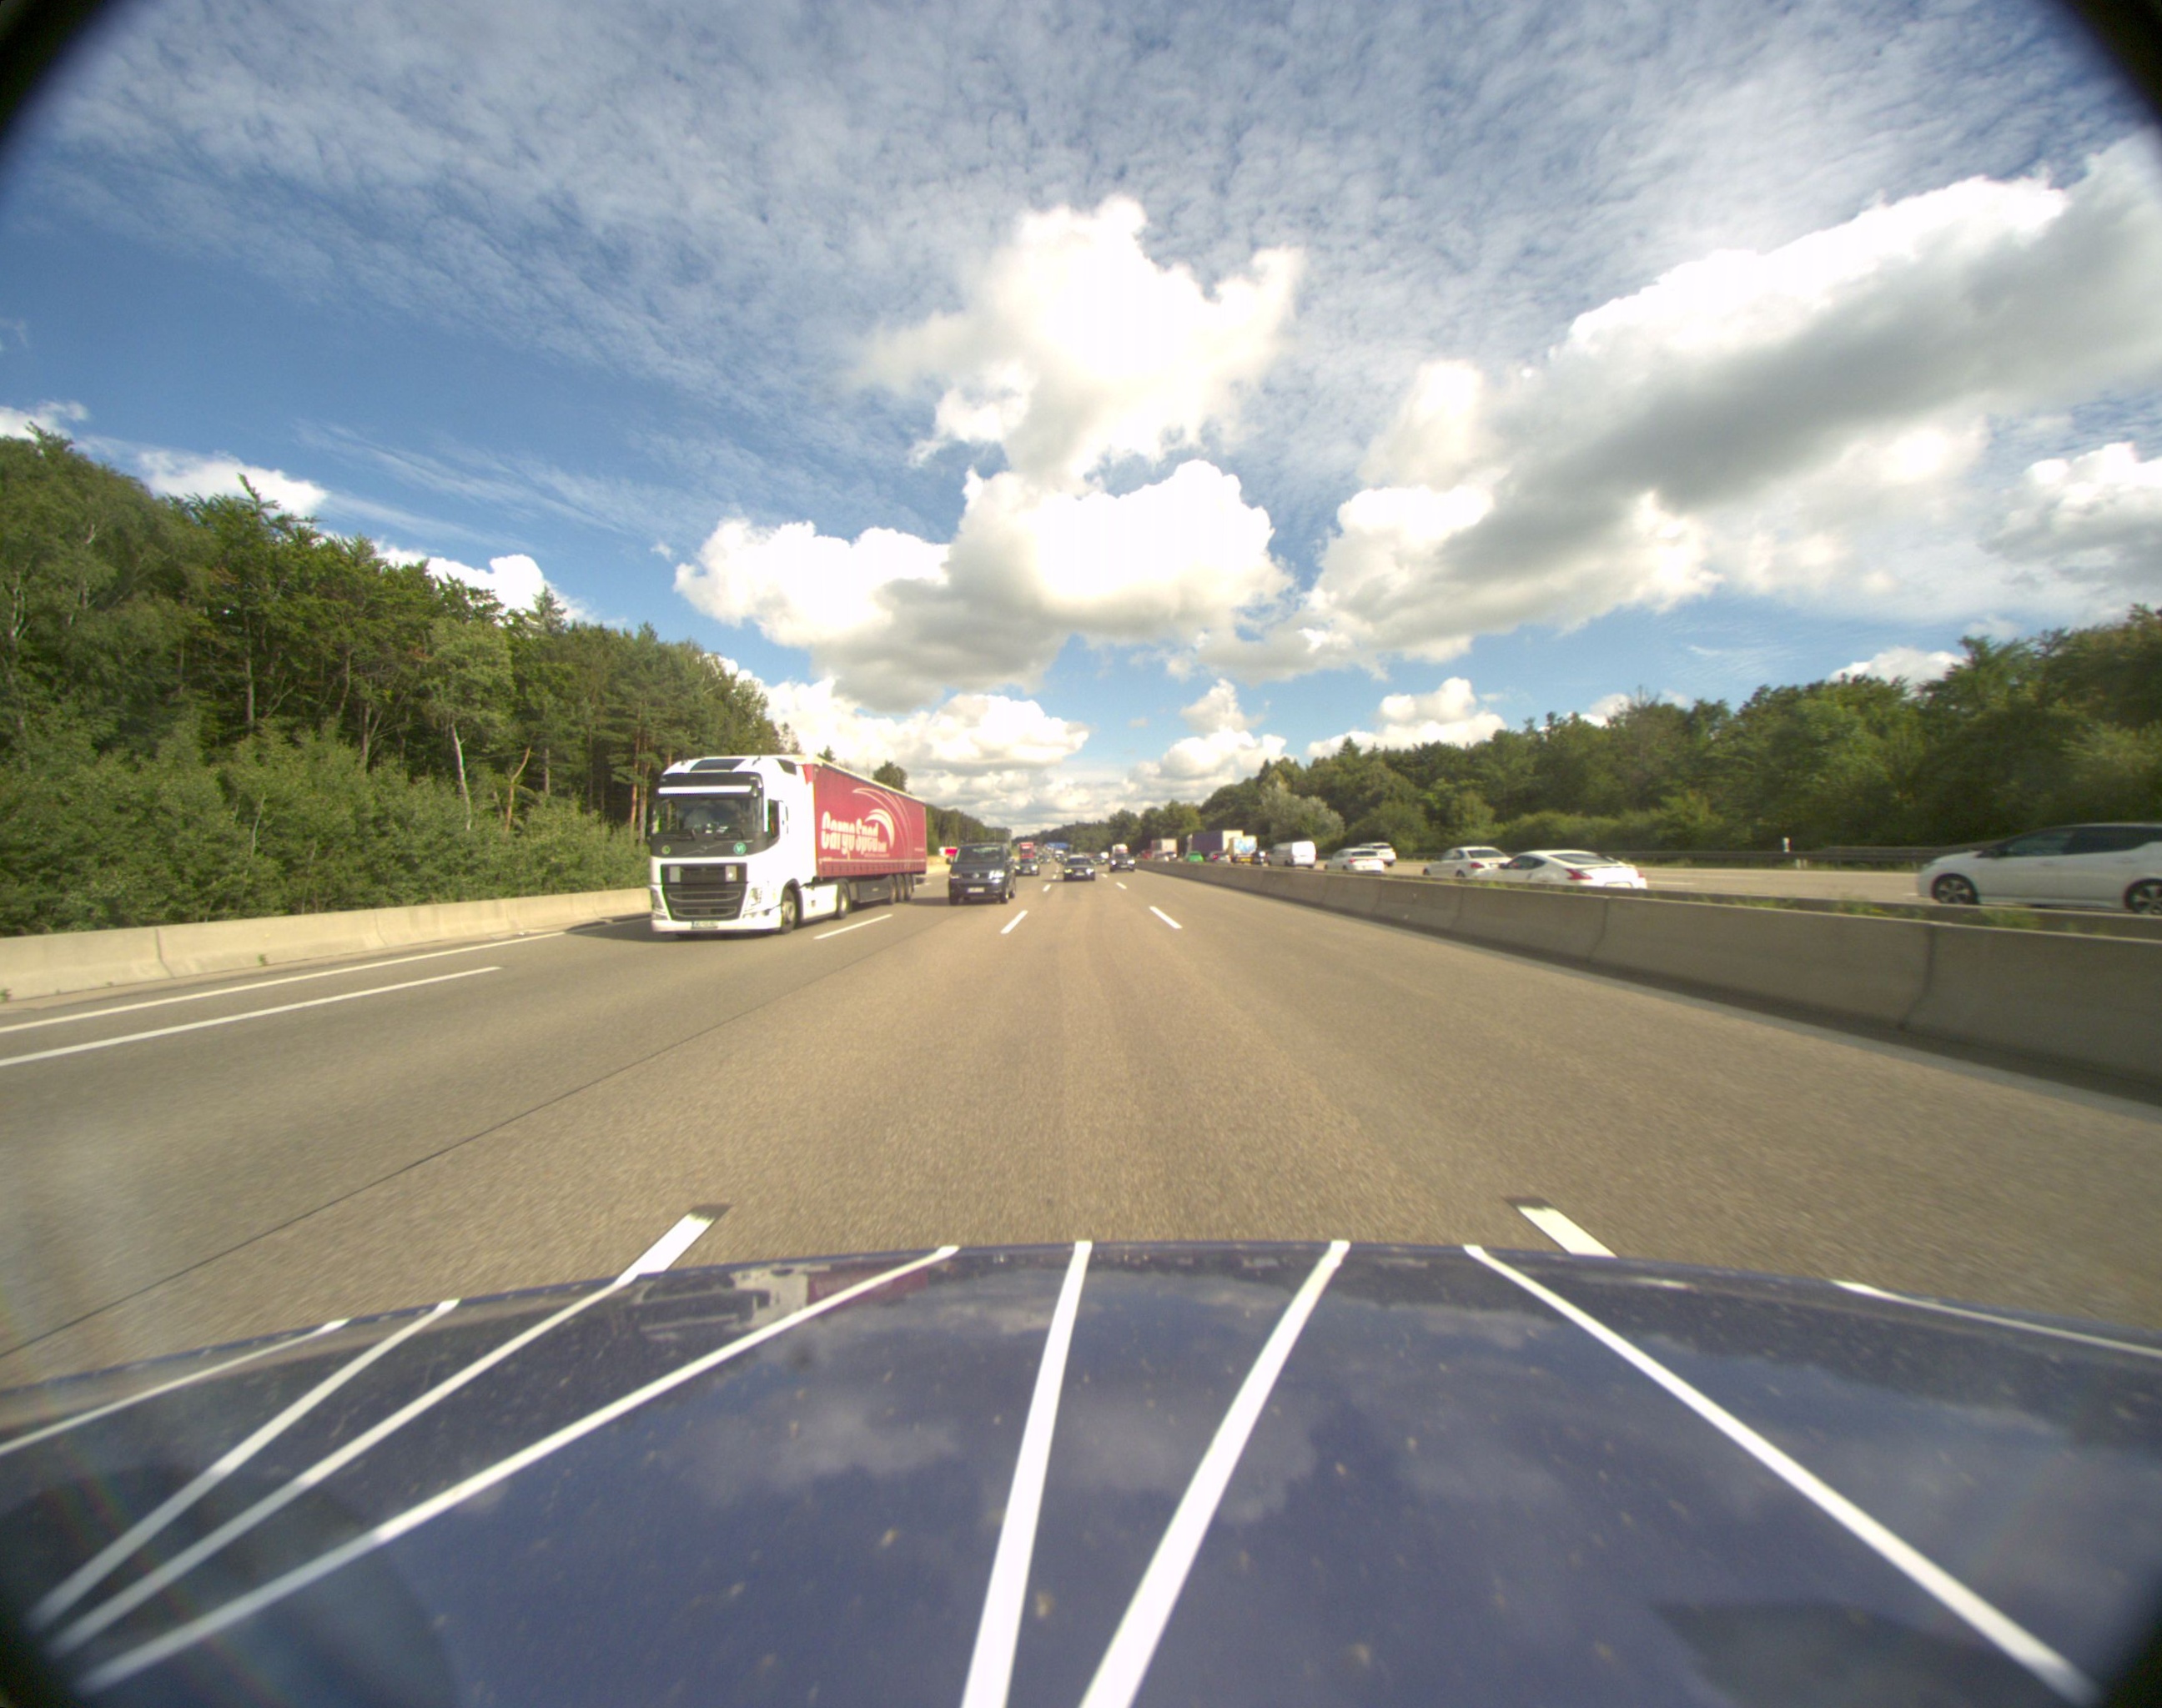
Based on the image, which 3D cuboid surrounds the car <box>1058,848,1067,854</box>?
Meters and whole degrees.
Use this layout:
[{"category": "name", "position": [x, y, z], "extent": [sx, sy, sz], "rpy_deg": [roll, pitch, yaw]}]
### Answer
[{"category": "car", "position": [-4.550, -0.690, 184.906], "extent": [2.153, 1.540, 4.675], "rpy_deg": [-2, 0, -3]}]

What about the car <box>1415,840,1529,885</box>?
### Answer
[{"category": "car", "position": [13.738, 0.254, 27.036], "extent": [1.685, 1.389, 4.715], "rpy_deg": [-2, 0, 1]}]

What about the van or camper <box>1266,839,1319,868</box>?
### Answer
[{"category": "van or camper", "position": [15.130, -0.019, 54.643], "extent": [1.999, 1.926, 5.455], "rpy_deg": [-2, 0, -3]}]

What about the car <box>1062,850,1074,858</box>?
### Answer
[{"category": "car", "position": [-2.615, -0.015, 151.290], "extent": [2.153, 1.540, 4.675], "rpy_deg": [-2, 0, -4]}]

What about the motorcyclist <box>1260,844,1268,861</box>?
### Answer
[{"category": "motorcyclist", "position": [15.946, -0.099, 66.229], "extent": [0.604, 1.467, 0.532], "rpy_deg": [-2, 1, 1]}]

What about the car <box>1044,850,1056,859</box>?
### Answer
[{"category": "car", "position": [-5.854, 0.100, 141.701], "extent": [2.153, 1.540, 4.675], "rpy_deg": [-2, 0, -3]}]

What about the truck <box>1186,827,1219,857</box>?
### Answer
[{"category": "truck", "position": [17.110, -1.606, 107.251], "extent": [2.828, 4.070, 6.056], "rpy_deg": [-2, 1, -9]}]

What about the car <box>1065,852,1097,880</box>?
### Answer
[{"category": "car", "position": [0.026, 0.665, 44.578], "extent": [1.733, 1.500, 4.728], "rpy_deg": [-2, 0, 0]}]

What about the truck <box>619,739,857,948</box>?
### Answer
[{"category": "truck", "position": [-7.576, -0.210, 17.800], "extent": [2.781, 4.022, 5.773], "rpy_deg": [-2, 0, 0]}]

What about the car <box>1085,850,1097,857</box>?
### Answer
[{"category": "car", "position": [2.235, -0.201, 171.934], "extent": [2.153, 1.540, 4.675], "rpy_deg": [-2, 0, -3]}]

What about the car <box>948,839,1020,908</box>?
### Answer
[{"category": "car", "position": [-3.248, 0.599, 26.329], "extent": [1.854, 2.097, 4.931], "rpy_deg": [-2, 0, -1]}]

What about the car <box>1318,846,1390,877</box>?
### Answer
[{"category": "car", "position": [13.473, 0.351, 37.822], "extent": [1.774, 1.386, 4.690], "rpy_deg": [-2, 0, -2]}]

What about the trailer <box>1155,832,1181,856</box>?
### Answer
[{"category": "trailer", "position": [15.254, -1.731, 134.318], "extent": [2.975, 3.835, 11.278], "rpy_deg": [-2, 0, -2]}]

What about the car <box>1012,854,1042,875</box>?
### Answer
[{"category": "car", "position": [-4.211, 0.784, 59.741], "extent": [2.153, 1.426, 5.097], "rpy_deg": [-2, 0, -3]}]

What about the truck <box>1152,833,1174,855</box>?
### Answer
[{"category": "truck", "position": [15.094, -1.809, 139.937], "extent": [2.975, 3.835, 6.763], "rpy_deg": [-2, 0, -2]}]

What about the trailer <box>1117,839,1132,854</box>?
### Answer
[{"category": "trailer", "position": [11.889, -2.066, 208.954], "extent": [2.795, 3.922, 12.249], "rpy_deg": [-2, 0, -2]}]

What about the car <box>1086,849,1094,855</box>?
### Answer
[{"category": "car", "position": [2.738, -0.572, 230.943], "extent": [1.860, 1.551, 3.992], "rpy_deg": [-2, 0, -3]}]

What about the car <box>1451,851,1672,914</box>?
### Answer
[{"category": "car", "position": [10.296, 0.532, 16.782], "extent": [1.816, 1.154, 4.513], "rpy_deg": [-2, 0, -3]}]

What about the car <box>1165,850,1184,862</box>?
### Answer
[{"category": "car", "position": [12.981, 0.250, 105.642], "extent": [1.849, 1.586, 4.912], "rpy_deg": [0, 0, -2]}]

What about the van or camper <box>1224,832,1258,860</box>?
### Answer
[{"category": "van or camper", "position": [17.024, -0.799, 80.985], "extent": [2.379, 2.875, 6.506], "rpy_deg": [0, 0, 1]}]

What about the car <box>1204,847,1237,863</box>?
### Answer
[{"category": "car", "position": [13.317, 0.087, 72.766], "extent": [2.176, 1.462, 4.785], "rpy_deg": [-2, 0, 0]}]

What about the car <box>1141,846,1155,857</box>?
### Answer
[{"category": "car", "position": [11.446, -0.392, 129.849], "extent": [1.852, 1.929, 5.032], "rpy_deg": [0, 0, -2]}]

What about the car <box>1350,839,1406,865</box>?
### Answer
[{"category": "car", "position": [21.503, -0.149, 55.203], "extent": [2.176, 1.674, 4.785], "rpy_deg": [-2, 0, 0]}]

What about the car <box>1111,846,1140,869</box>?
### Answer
[{"category": "car", "position": [3.615, 0.250, 62.396], "extent": [2.152, 1.800, 5.099], "rpy_deg": [-2, 1, 1]}]

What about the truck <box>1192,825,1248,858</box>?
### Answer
[{"category": "truck", "position": [18.159, -1.547, 100.591], "extent": [2.828, 4.070, 13.833], "rpy_deg": [-2, 0, -9]}]

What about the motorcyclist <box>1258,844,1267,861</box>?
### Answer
[{"category": "motorcyclist", "position": [15.957, -0.109, 66.839], "extent": [0.604, 1.467, 0.532], "rpy_deg": [-2, 1, 1]}]

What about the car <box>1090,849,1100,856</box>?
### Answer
[{"category": "car", "position": [3.561, -0.438, 200.240], "extent": [2.161, 1.690, 5.348], "rpy_deg": [-2, 0, -3]}]

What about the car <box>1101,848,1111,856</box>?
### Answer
[{"category": "car", "position": [5.533, -0.426, 171.521], "extent": [1.854, 1.867, 4.614], "rpy_deg": [-2, 0, -3]}]

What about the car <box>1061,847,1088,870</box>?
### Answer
[{"category": "car", "position": [-0.517, 0.375, 66.836], "extent": [2.153, 1.800, 5.098], "rpy_deg": [-2, 1, 1]}]

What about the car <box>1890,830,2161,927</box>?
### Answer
[{"category": "car", "position": [17.161, 0.343, 12.892], "extent": [1.815, 1.444, 4.801], "rpy_deg": [-2, 0, 1]}]

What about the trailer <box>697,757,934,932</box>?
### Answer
[{"category": "trailer", "position": [-7.561, -0.257, 24.698], "extent": [2.781, 4.022, 13.712], "rpy_deg": [-2, 0, 0]}]

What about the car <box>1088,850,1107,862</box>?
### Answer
[{"category": "car", "position": [2.215, 0.239, 102.556], "extent": [2.153, 1.540, 4.675], "rpy_deg": [-2, 0, -4]}]

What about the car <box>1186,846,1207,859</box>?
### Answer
[{"category": "car", "position": [13.187, -0.136, 87.013], "extent": [1.788, 1.462, 4.330], "rpy_deg": [0, 0, -1]}]

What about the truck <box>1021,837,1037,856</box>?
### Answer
[{"category": "truck", "position": [-10.465, -1.515, 152.261], "extent": [3.019, 3.662, 7.558], "rpy_deg": [-1, 0, -3]}]

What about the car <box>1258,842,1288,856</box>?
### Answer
[{"category": "car", "position": [21.175, -0.513, 83.886], "extent": [2.059, 1.462, 4.403], "rpy_deg": [-2, 0, -1]}]

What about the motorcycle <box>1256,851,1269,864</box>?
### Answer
[{"category": "motorcycle", "position": [15.966, 0.306, 66.847], "extent": [0.611, 1.034, 2.175], "rpy_deg": [-2, 0, 1]}]

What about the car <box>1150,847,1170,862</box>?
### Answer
[{"category": "car", "position": [9.032, 0.051, 87.458], "extent": [1.867, 1.543, 4.662], "rpy_deg": [-2, 0, 2]}]
